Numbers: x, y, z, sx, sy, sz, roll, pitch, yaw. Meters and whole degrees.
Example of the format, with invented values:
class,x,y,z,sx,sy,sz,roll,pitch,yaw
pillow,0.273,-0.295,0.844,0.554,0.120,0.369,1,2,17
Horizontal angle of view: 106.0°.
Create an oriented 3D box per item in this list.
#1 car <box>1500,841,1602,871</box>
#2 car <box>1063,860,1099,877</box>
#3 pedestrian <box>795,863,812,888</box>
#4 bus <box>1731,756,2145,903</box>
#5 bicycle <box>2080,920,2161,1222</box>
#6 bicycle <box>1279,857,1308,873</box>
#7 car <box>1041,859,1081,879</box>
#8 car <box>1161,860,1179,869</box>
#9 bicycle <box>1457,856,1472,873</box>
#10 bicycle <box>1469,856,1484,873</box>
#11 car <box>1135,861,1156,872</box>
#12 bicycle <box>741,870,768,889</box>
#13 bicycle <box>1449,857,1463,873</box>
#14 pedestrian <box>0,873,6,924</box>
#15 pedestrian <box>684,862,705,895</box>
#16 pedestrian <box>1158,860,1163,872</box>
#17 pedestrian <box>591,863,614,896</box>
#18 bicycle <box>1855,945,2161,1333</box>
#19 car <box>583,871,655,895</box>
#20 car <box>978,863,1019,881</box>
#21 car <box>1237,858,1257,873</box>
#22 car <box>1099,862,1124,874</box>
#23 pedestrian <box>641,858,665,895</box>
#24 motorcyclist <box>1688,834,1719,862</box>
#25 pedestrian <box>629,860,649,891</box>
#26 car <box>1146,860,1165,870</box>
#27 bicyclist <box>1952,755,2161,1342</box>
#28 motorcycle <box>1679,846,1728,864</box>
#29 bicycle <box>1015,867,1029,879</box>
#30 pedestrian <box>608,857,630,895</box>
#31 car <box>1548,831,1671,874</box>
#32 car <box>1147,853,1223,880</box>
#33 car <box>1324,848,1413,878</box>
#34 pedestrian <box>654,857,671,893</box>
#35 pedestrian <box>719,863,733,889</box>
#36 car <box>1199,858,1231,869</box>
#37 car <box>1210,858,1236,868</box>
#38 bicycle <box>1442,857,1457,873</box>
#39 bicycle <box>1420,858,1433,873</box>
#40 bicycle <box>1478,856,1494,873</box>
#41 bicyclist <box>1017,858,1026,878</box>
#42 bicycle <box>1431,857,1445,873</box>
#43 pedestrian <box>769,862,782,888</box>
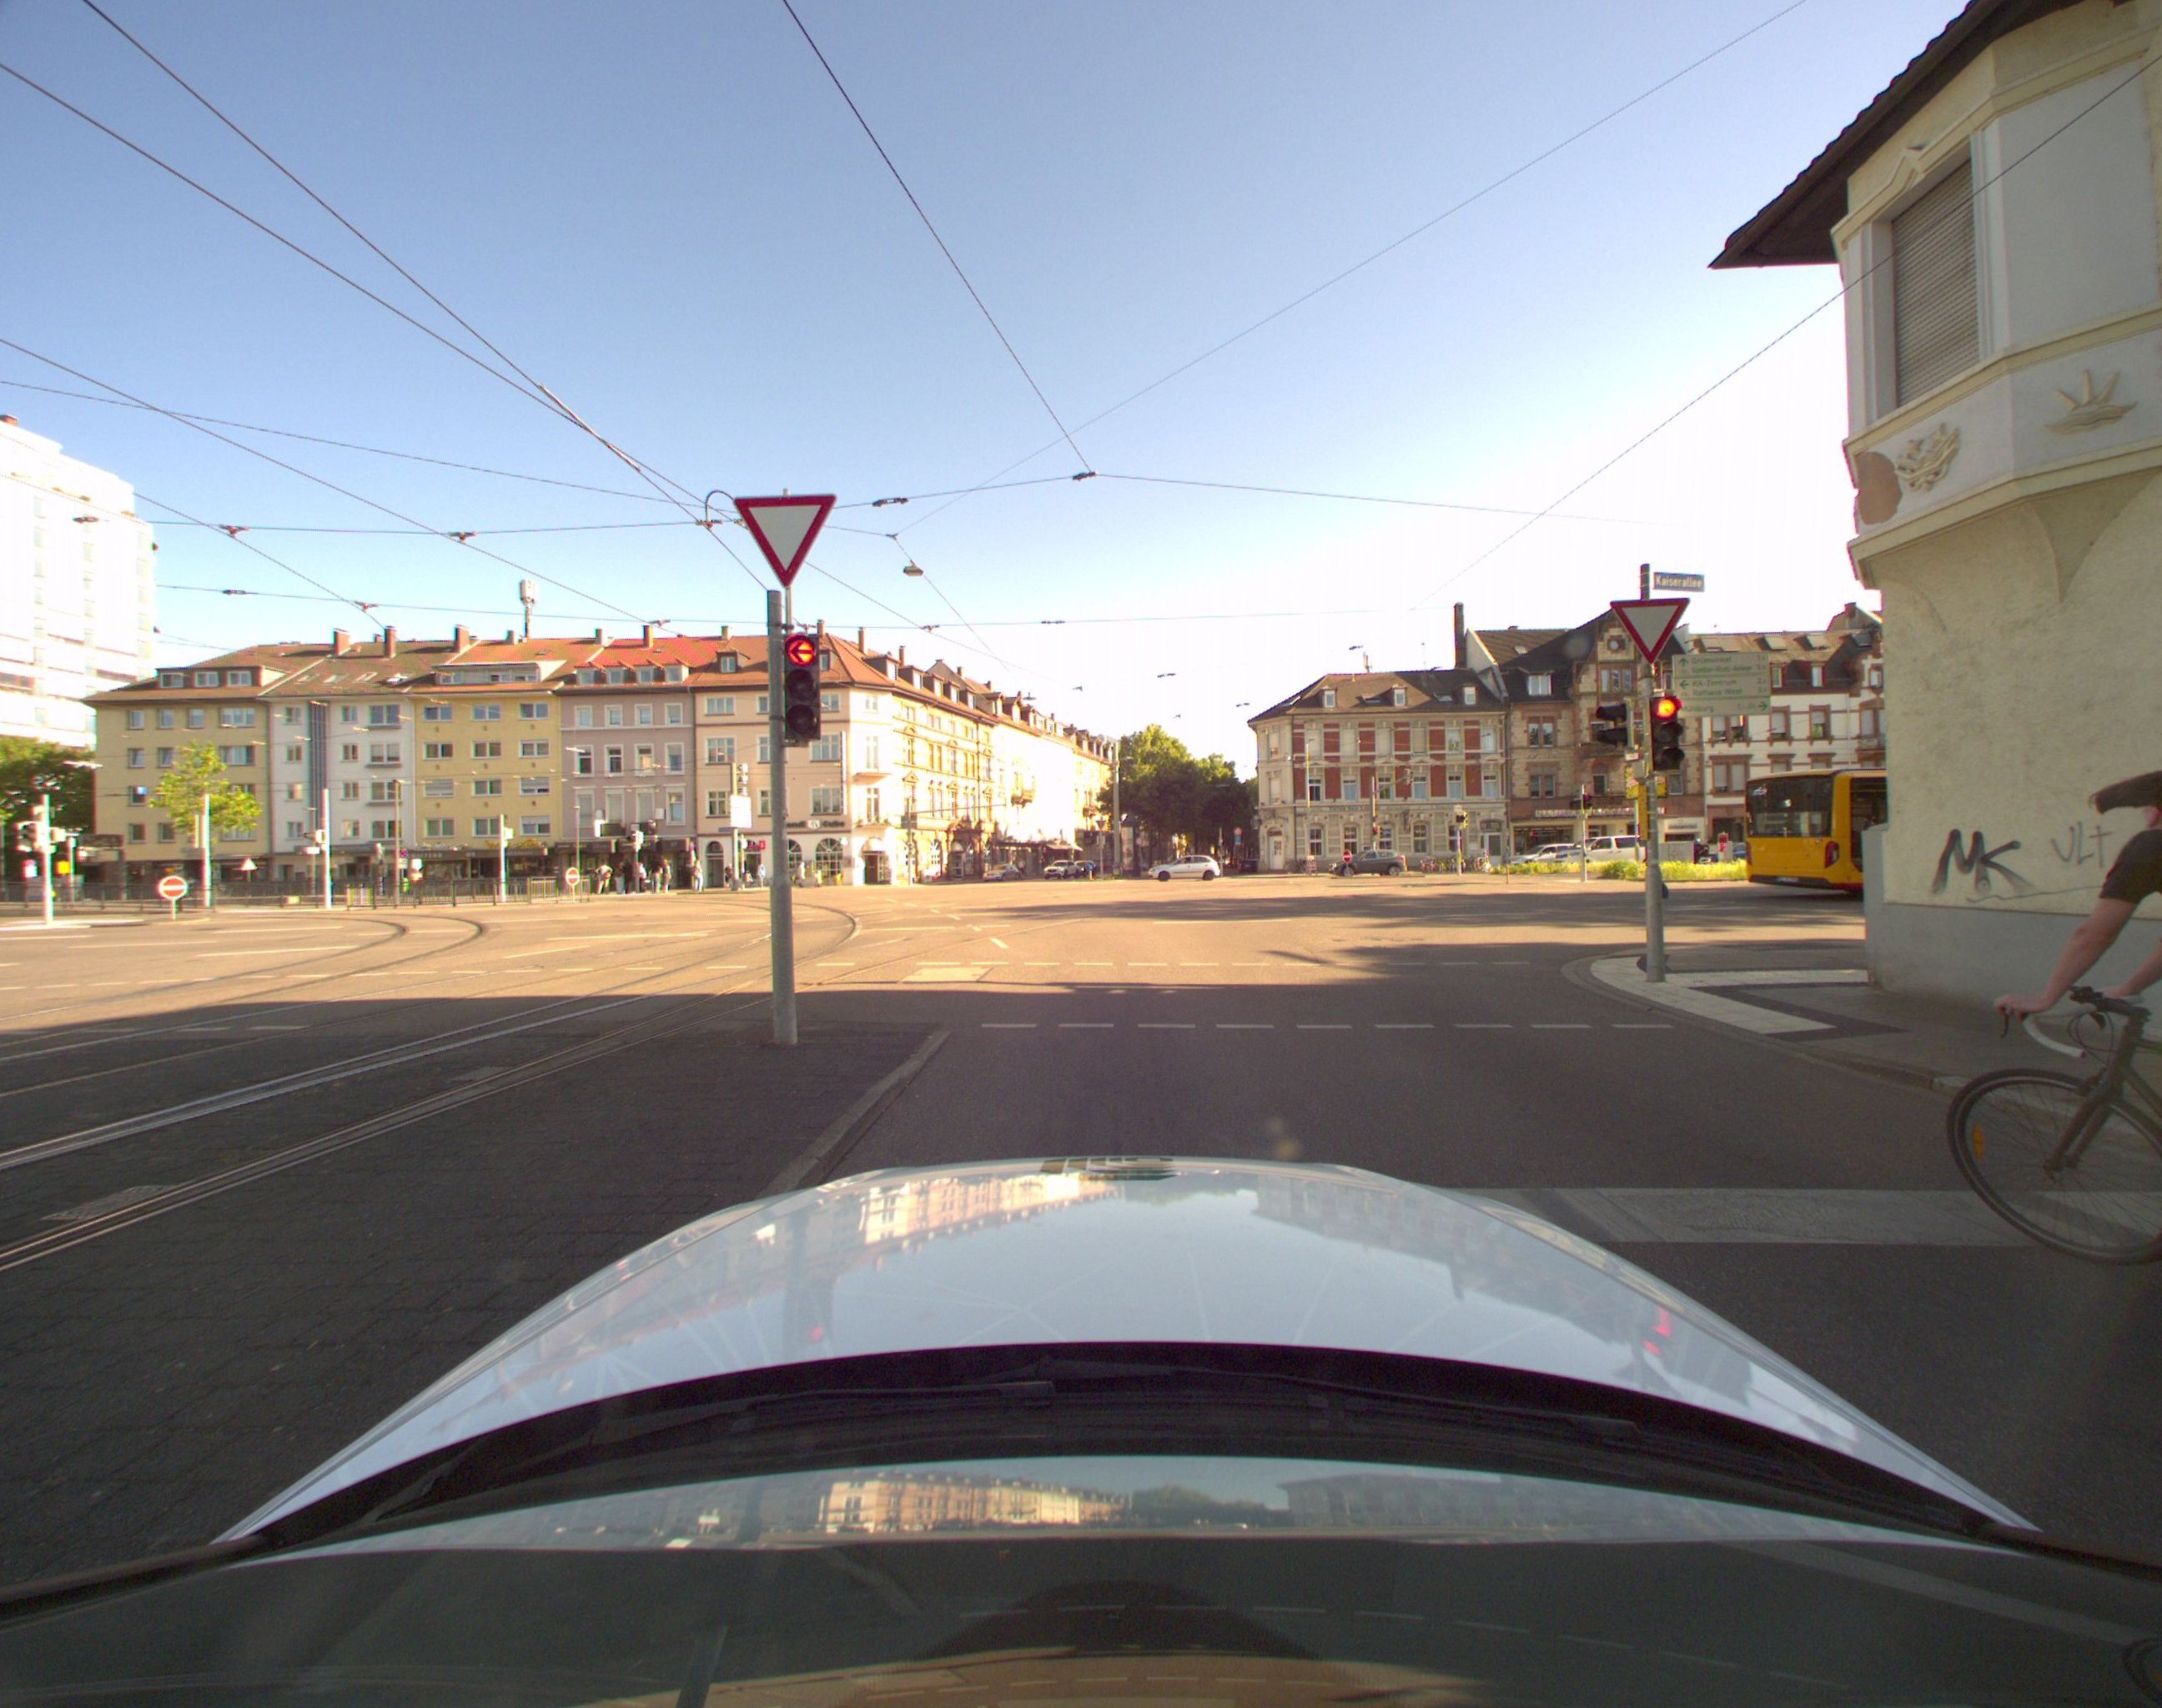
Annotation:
class,x,y,z,sx,sy,sz,roll,pitch,yaw
car,27.629,0.117,47.946,4.840,1.653,1.999,-1,0,-1
car,0.027,1.312,73.822,1.977,1.404,4.189,-1,0,18
pedestrian,-19.018,1.442,55.869,0.907,1.682,0.742,-1,0,-4
bus,21.930,-0.624,21.063,8.603,3.457,2.781,0,1,-6
bicycle,4.509,0.863,2.505,0.568,1.165,1.890,-1,0,2
bicycle,14.911,0.753,57.157,1.940,1.054,0.717,-1,0,11
car,-1.593,1.219,67.684,1.977,1.516,4.189,-1,0,18
car,14.319,1.709,131.277,1.977,1.404,4.189,-1,0,18
bicycle,24.816,0.680,52.733,0.483,1.020,1.789,-1,0,12
bicycle,25.628,0.675,52.782,0.483,1.020,1.789,-1,0,12
car,9.236,1.813,116.840,1.977,1.404,4.189,-1,0,18
bicycle,-22.985,1.762,57.362,1.714,1.276,0.385,-1,0,-16
bicycle,24.313,0.685,52.825,0.483,1.020,1.789,-1,0,12
pedestrian,-34.931,1.439,25.747,0.770,1.611,0.794,-1,0,-5
pedestrian,-20.027,1.273,42.200,0.738,1.682,0.628,-1,0,1
pedestrian,9.604,1.455,98.471,0.542,1.385,0.628,-1,0,18
pedestrian,-24.905,1.307,42.391,0.764,1.682,0.628,-1,0,1
bicycle,3.565,0.924,2.519,0.568,1.058,1.890,-1,0,2
car,-30.347,1.899,53.546,3.711,1.491,1.820,0,-1,4
car,-6.762,1.477,67.377,1.977,1.361,3.836,-1,0,18
car,16.795,1.134,82.311,1.742,1.420,4.016,-1,0,14
car,3.825,1.712,102.191,1.977,1.404,4.189,-1,0,18
pedestrian,-21.580,1.149,41.037,0.764,1.829,0.723,-1,0,1
motorcyclist,31.694,-0.306,41.491,0.999,1.355,0.744,-1,0,1
pedestrian,-22.921,1.091,42.215,0.697,1.581,0.559,-1,0,-4
car,11.190,1.689,122.518,1.977,1.404,4.189,-1,0,18
bicyclist,3.564,0.581,2.516,0.649,1.767,0.995,-1,0,2
motorcycle,31.696,0.057,41.480,2.033,0.897,0.562,-1,0,1
bicycle,-4.765,1.532,65.583,0.650,1.000,1.671,-1,-1,14
pedestrian,-23.170,1.101,40.837,0.625,1.850,0.778,-1,0,1
car,27.124,-0.079,41.912,4.962,2.013,2.001,-1,0,1
car,5.754,0.680,45.337,4.013,1.423,1.886,-1,0,1
car,16.945,0.499,48.181,4.566,1.615,1.999,-1,0,-1
pedestrian,-21.621,1.080,42.058,0.559,1.786,0.559,-1,0,-4
pedestrian,-23.076,1.409,52.944,0.744,1.682,0.623,-1,0,-23
car,17.328,1.227,105.179,3.959,1.288,1.700,-1,0,13
car,19.372,1.215,111.207,3.409,1.239,1.582,-1,0,13
bicycle,23.853,0.688,52.774,0.483,1.020,1.789,-1,0,12
bicycle,22.482,0.735,52.996,0.483,0.914,1.789,-1,0,12
bicycle,26.332,0.671,52.937,0.483,1.020,1.789,-1,0,12
bicyclist,-4.771,1.094,65.485,0.486,1.601,0.668,-1,0,12
bicycle,23.158,0.726,52.893,0.483,1.020,1.789,-1,0,12
pedestrian,-20.500,1.400,54.609,0.744,1.682,0.623,-1,0,-23
